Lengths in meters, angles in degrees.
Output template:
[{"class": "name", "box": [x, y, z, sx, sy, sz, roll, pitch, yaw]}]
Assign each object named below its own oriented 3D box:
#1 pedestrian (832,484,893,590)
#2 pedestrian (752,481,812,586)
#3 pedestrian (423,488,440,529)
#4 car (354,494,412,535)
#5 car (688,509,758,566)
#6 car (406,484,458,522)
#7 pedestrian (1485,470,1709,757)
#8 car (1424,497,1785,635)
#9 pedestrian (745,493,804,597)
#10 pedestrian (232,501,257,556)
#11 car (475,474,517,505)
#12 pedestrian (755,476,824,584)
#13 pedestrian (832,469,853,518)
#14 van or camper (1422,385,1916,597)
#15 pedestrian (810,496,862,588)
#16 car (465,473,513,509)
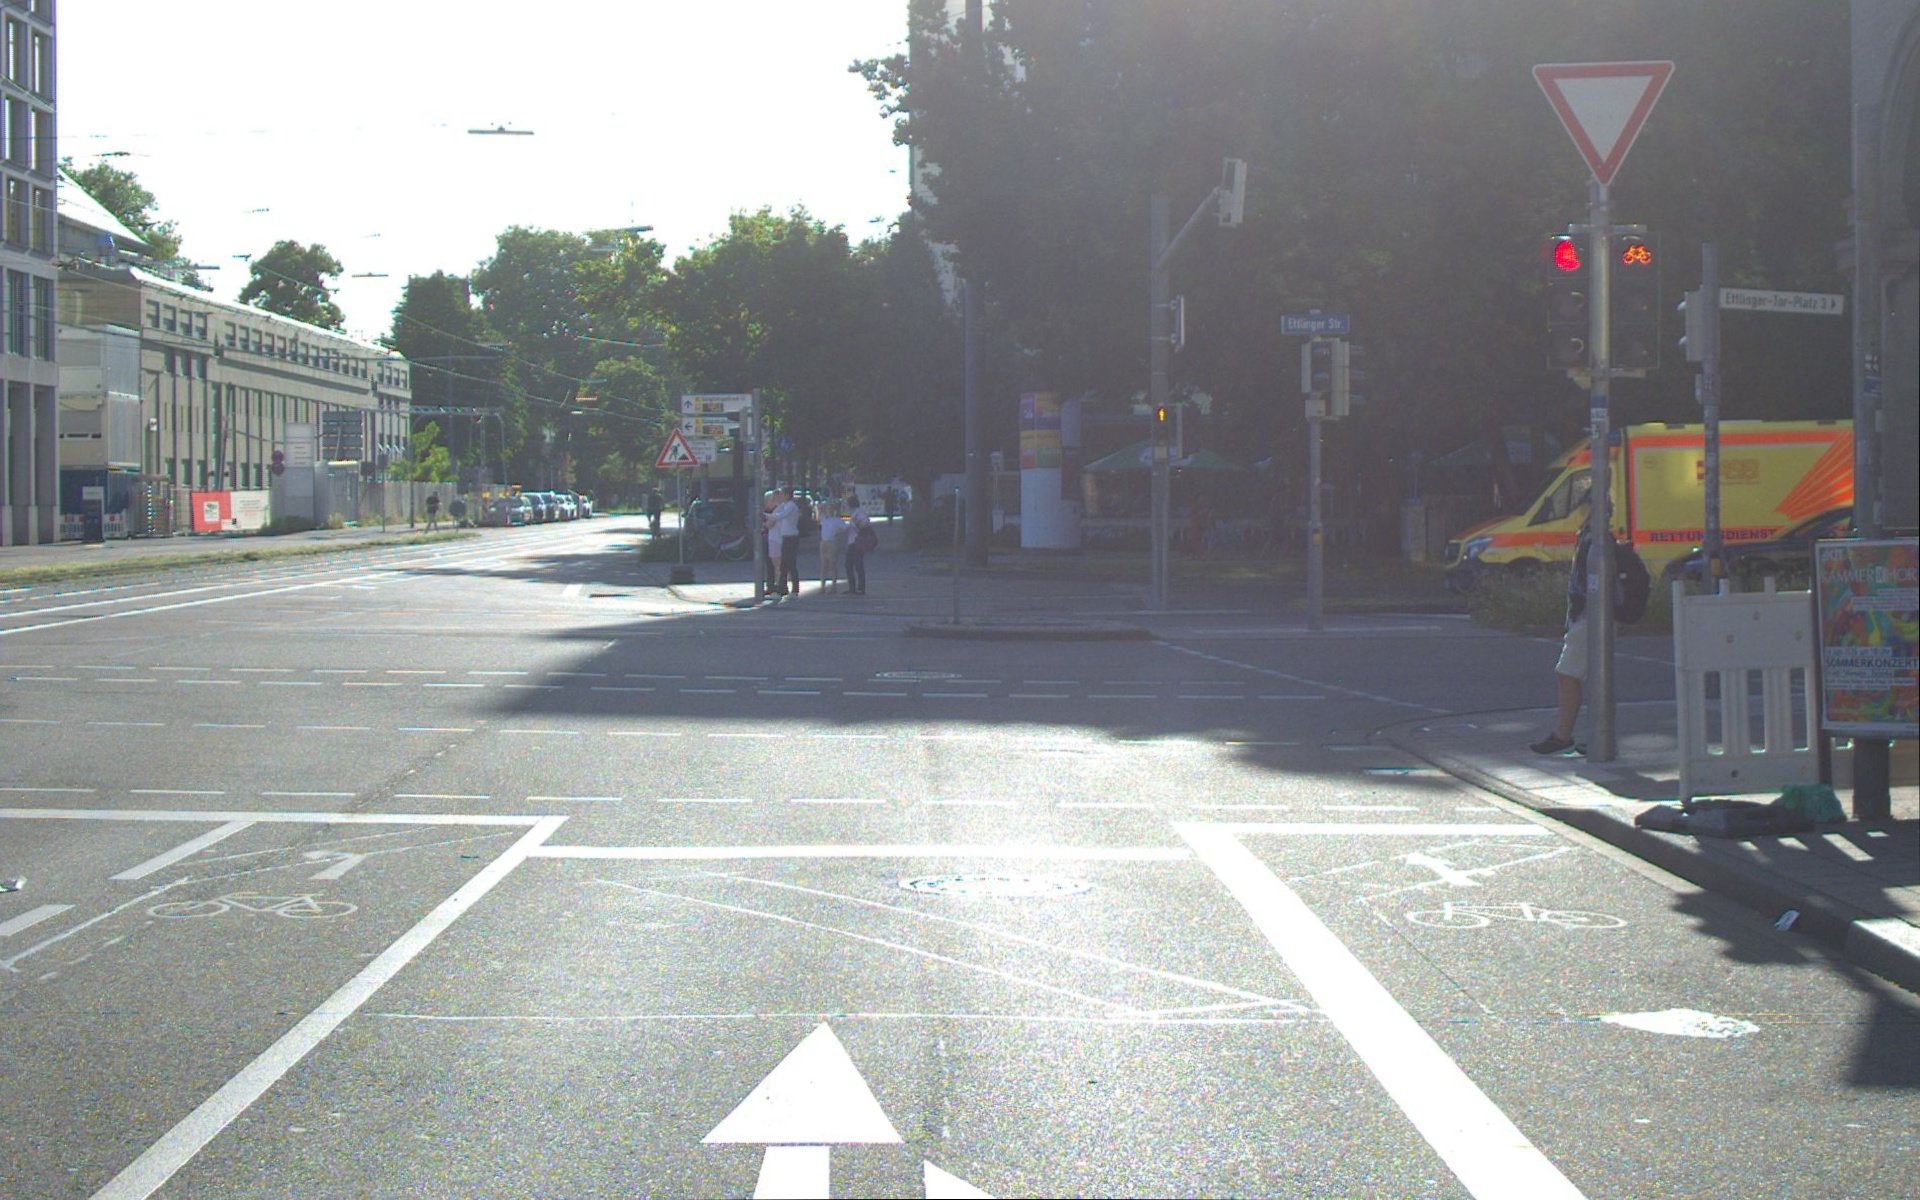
[{"class": "pedestrian", "box": [-1.655, -1.063, 58.126, 0.847, 1.778, 0.780, -1, 1, -17]}, {"class": "pedestrian", "box": [-3.041, -1.134, 58.670, 0.847, 1.778, 0.780, -1, 1, -17]}, {"class": "pedestrian", "box": [-19.623, -3.391, 127.642, 0.524, 1.479, 0.438, 2, 0, -2]}, {"class": "car", "box": [-24.365, -3.607, 145.307, 1.819, 1.706, 3.806, 0, 1, -1]}, {"class": "car", "box": [-6.498, -1.700, 94.640, 1.684, 1.495, 3.509, 2, 0, -1]}, {"class": "car", "box": [-23.964, -4.393, 156.213, 1.819, 1.706, 3.806, 0, 1, -1]}, {"class": "pedestrian", "box": [3.910, 0.068, 21.175, 1.039, 1.715, 1.035, -1, 1, -12]}, {"class": "car", "box": [8.364, -0.447, 44.894, 4.314, 1.641, 1.888, 2, 0, 0]}, {"class": "pedestrian", "box": [-3.216, -0.959, 59.494, 0.847, 1.778, 0.780, -1, 1, -17]}, {"class": "pedestrian", "box": [-17.083, -1.704, 82.072, 0.511, 1.324, 0.369, 0, 1, 1]}, {"class": "car", "box": [-23.202, -5.513, 171.880, 1.609, 1.493, 3.806, 0, 1, -1]}, {"class": "pedestrian", "box": [-2.820, -1.159, 56.890, 0.965, 1.778, 0.780, -1, 1, -17]}, {"class": "pedestrian", "box": [-8.825, -7.975, 257.926, 1.401, 3.584, 1.568, 2, 0, -1]}, {"class": "van or camper", "box": [10.305, -1.568, 50.543, 6.709, 2.852, 2.910, 2, 0, 4]}, {"class": "pedestrian", "box": [-2.131, -0.999, 58.941, 0.762, 1.553, 0.588, -1, 1, -17]}, {"class": "car", "box": [-22.997, -5.321, 167.936, 1.819, 1.706, 3.806, 0, 1, -1]}]
